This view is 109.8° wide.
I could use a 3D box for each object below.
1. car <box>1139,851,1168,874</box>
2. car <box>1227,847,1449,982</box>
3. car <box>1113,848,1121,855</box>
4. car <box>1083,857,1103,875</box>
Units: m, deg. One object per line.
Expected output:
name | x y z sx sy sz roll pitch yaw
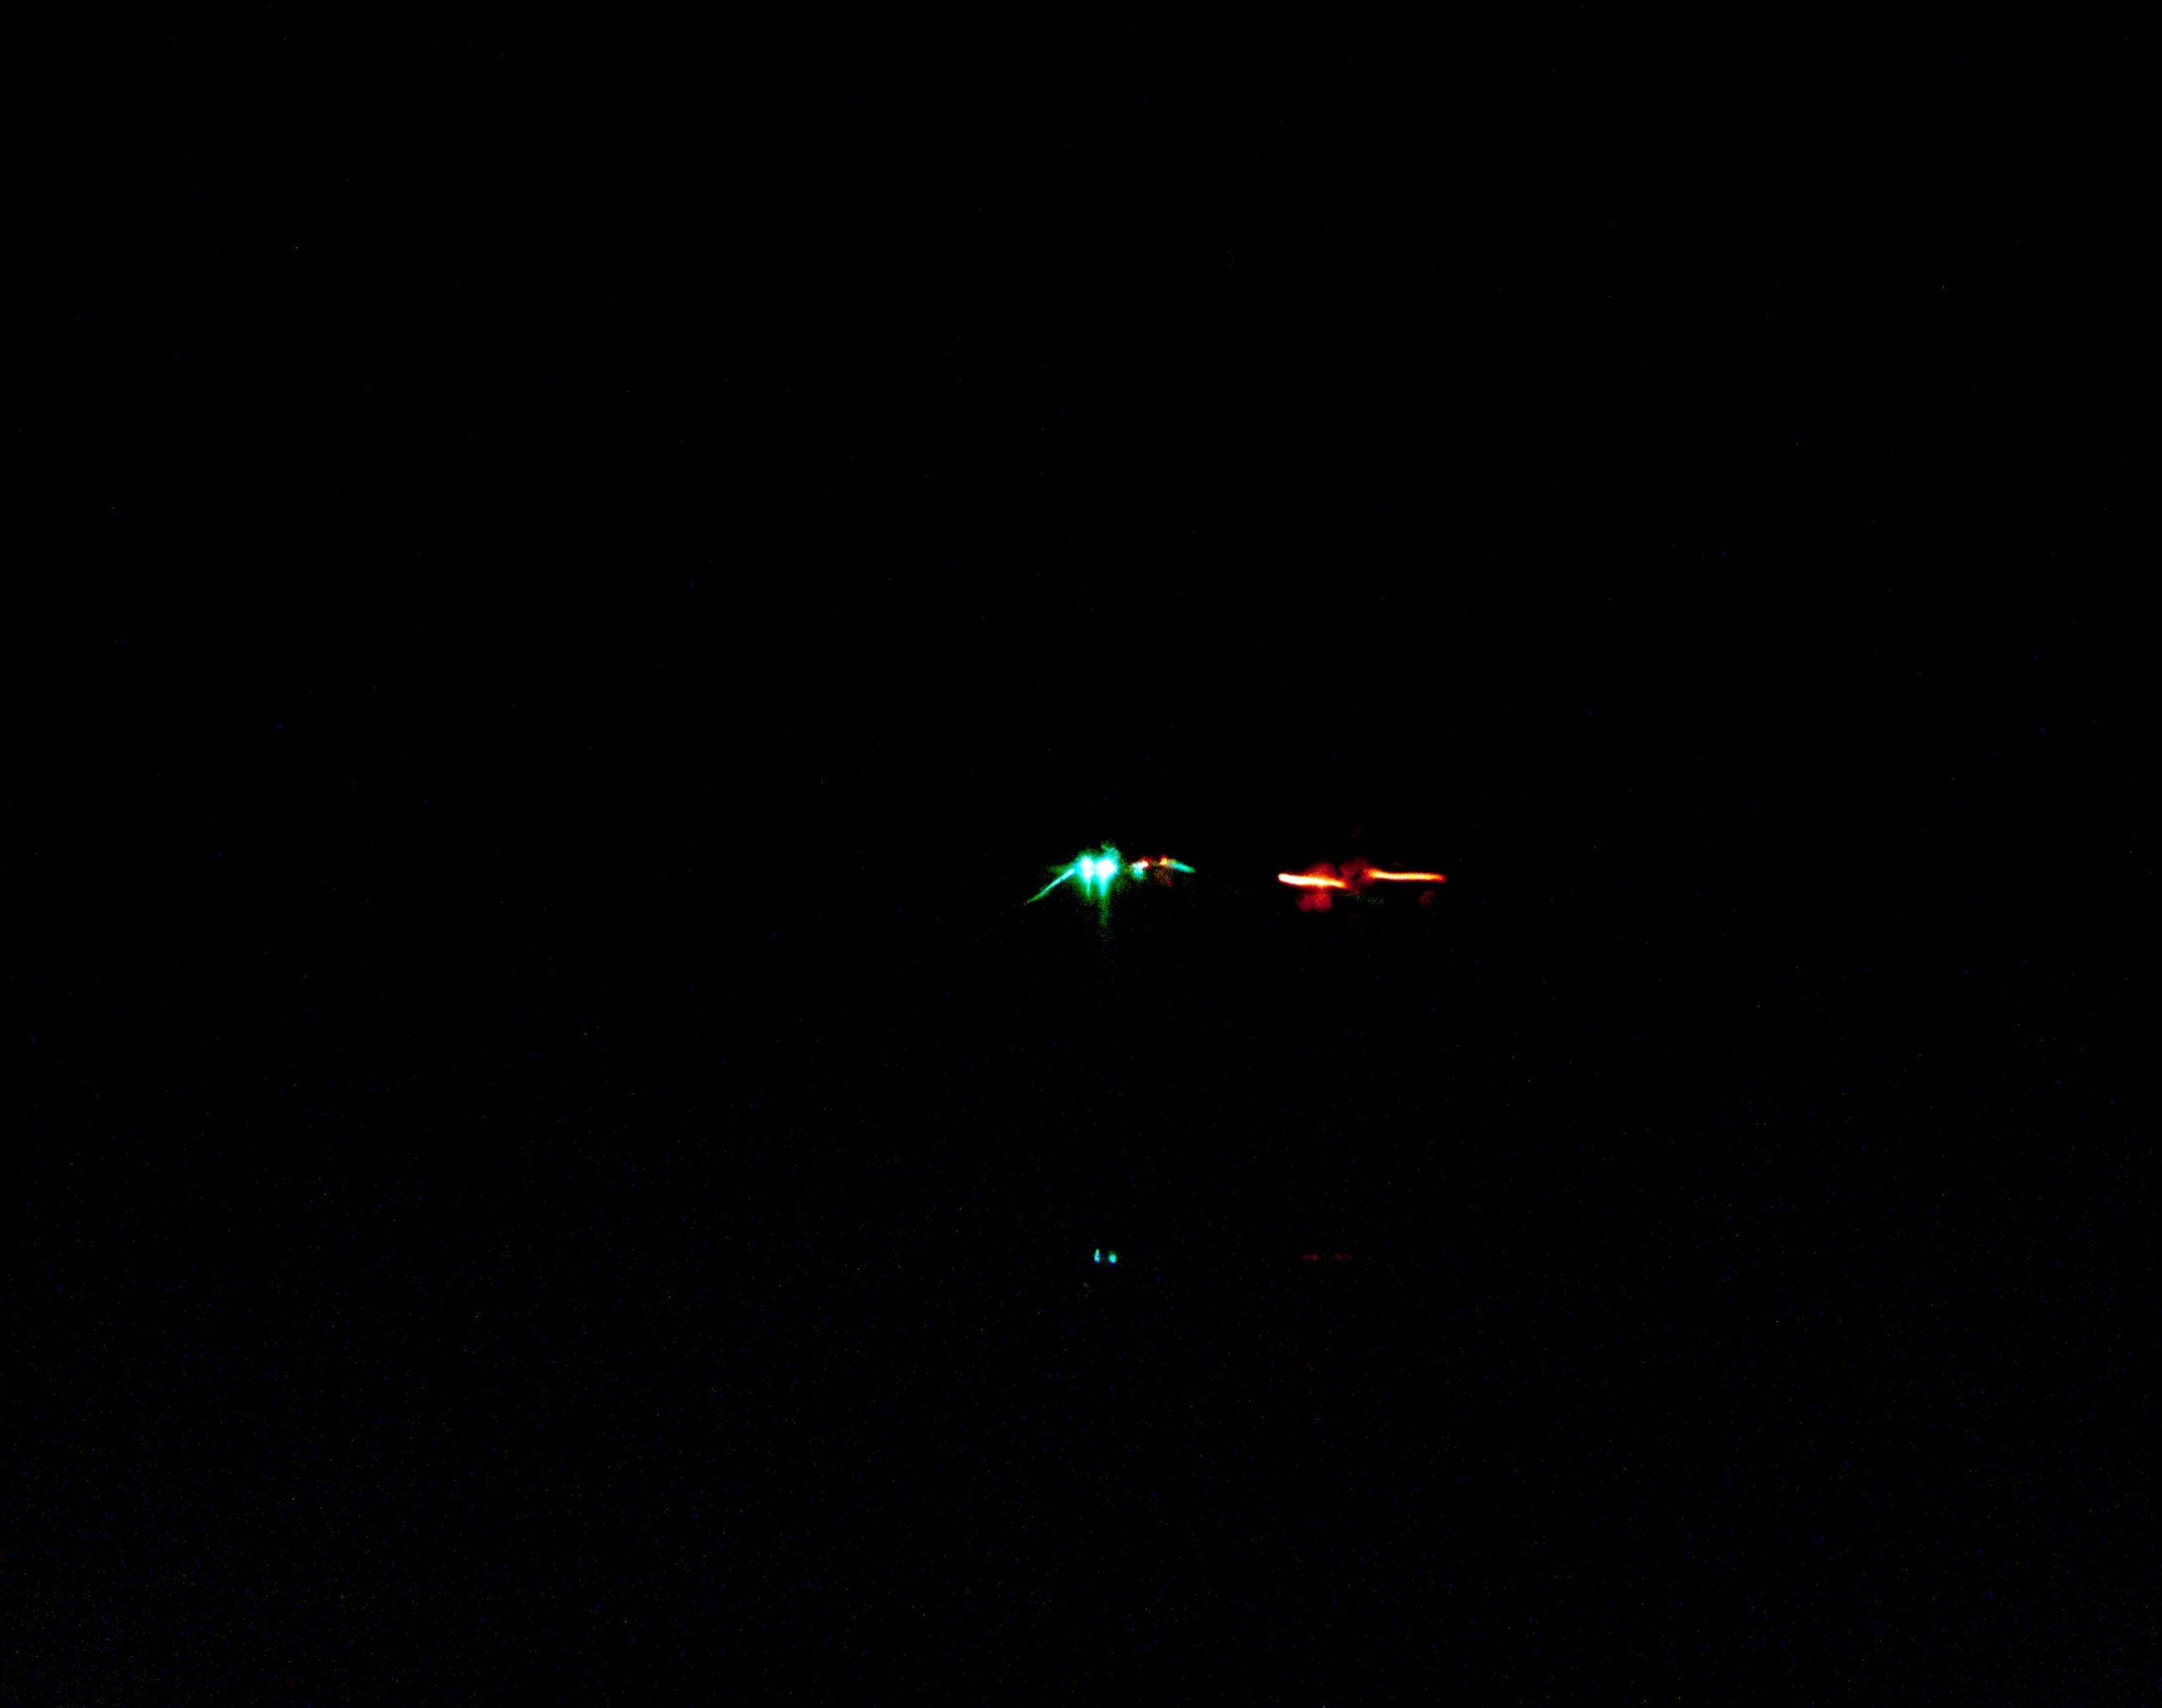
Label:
car | 4.797 0.548 50.379 1.585 1.377 3.585 -3 1 1
car | 3.374 0.690 10.812 1.822 1.546 3.870 -1 1 0
car | 9.129 -0.674 194.346 1.818 1.724 4.000 -3 1 2
car | 1.256 1.218 81.274 1.998 1.724 4.000 -3 1 2
